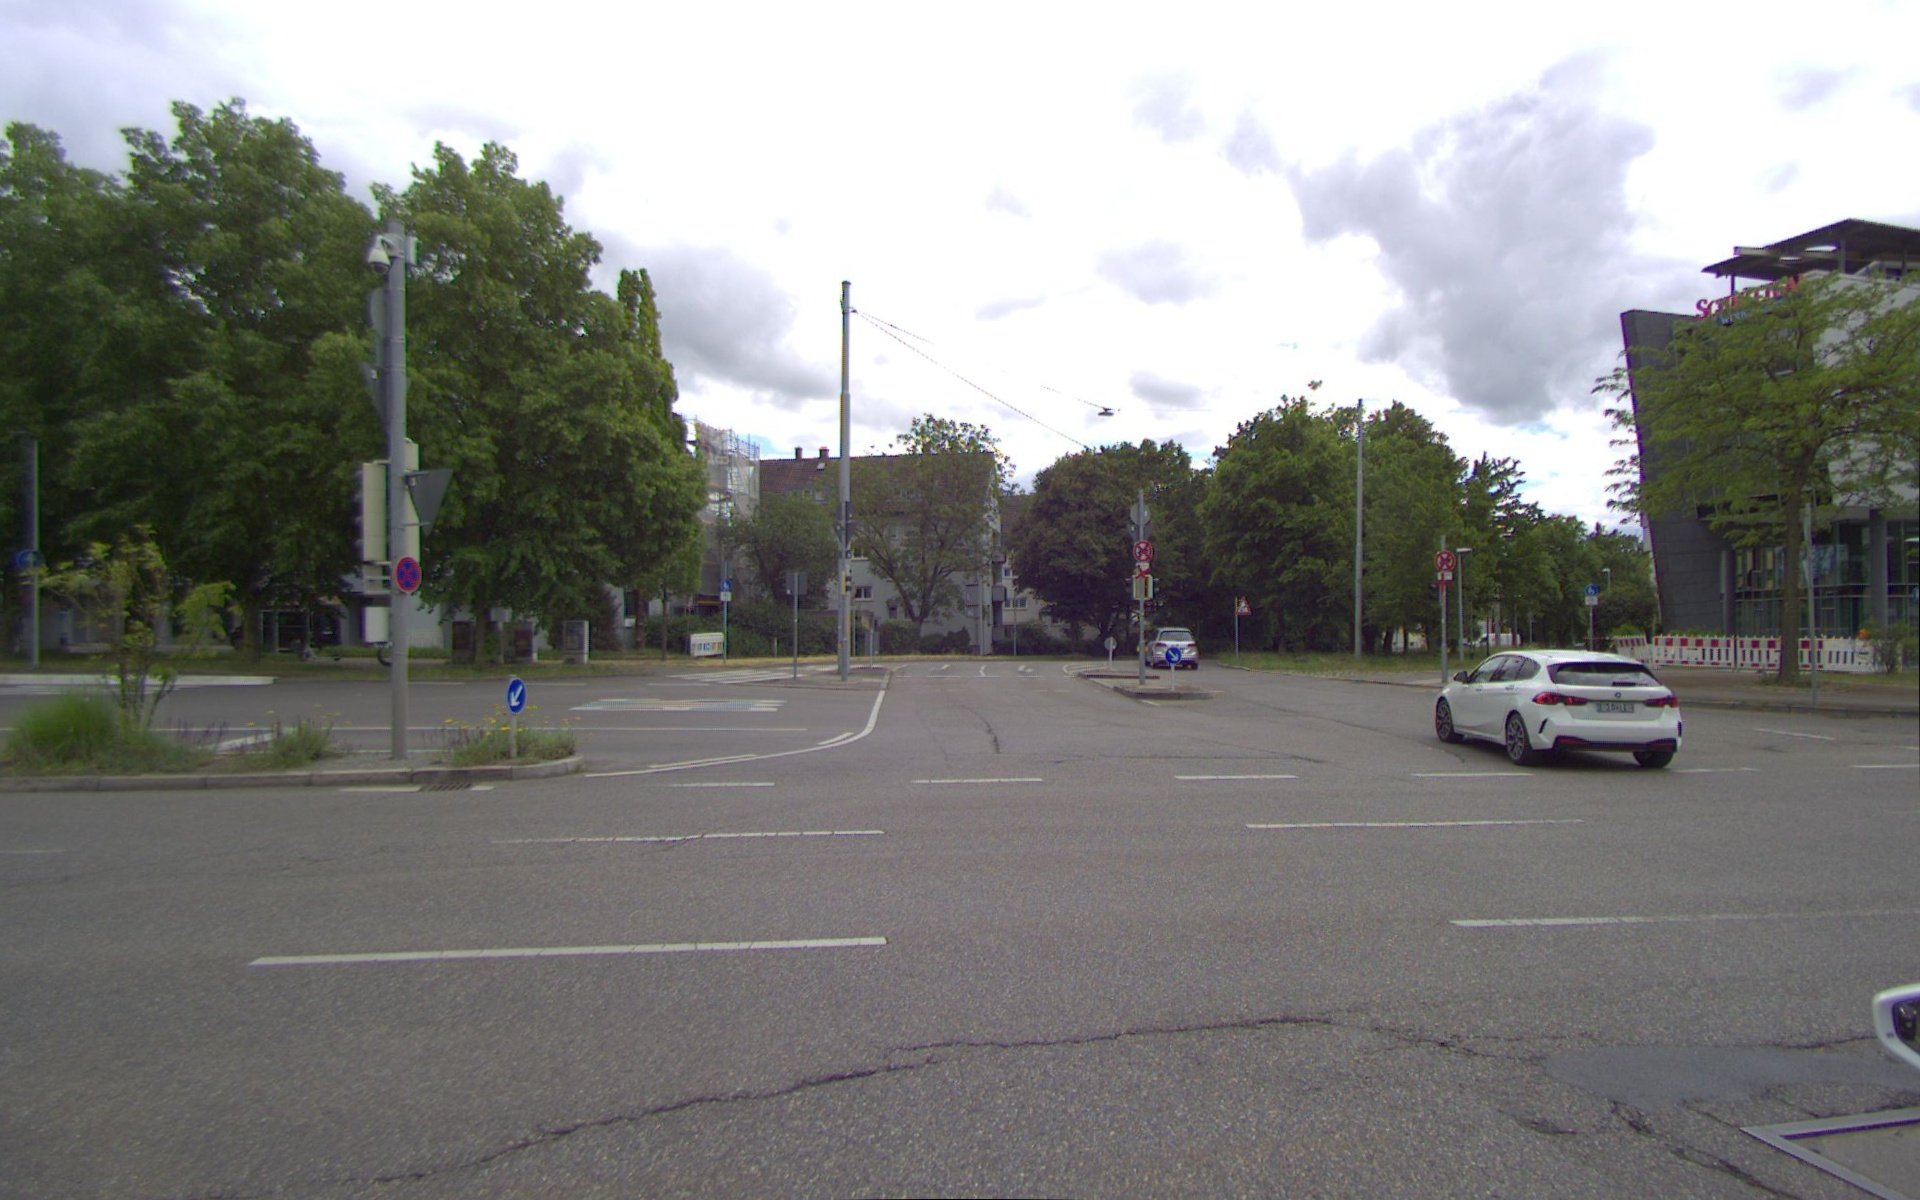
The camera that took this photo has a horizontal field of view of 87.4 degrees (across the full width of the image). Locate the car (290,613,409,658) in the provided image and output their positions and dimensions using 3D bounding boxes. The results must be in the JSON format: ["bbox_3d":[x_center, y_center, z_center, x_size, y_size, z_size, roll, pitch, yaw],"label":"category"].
[{"bbox_3d":[-23.518,1.359,38.735,3.870,1.691,1.649,0,-2,14],"label":"car"}]

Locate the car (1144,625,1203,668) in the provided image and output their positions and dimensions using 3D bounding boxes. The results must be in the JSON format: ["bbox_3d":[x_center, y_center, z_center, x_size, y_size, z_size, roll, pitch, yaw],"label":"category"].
[{"bbox_3d":[8.332,1.832,39.492,1.890,1.594,4.003,0,-2,7],"label":"car"}]

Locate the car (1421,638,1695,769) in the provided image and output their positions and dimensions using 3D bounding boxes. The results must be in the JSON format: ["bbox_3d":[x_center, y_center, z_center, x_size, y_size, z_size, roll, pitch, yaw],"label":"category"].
[{"bbox_3d":[8.086,1.342,14.100,1.765,1.537,4.211,-1,-3,8],"label":"car"}]

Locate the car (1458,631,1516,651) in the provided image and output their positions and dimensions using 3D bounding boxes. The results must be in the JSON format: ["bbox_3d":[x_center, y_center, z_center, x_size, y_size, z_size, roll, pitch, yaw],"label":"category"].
[{"bbox_3d":[73.856,5.734,140.776,6.839,2.555,2.086,1,0,7],"label":"car"}]

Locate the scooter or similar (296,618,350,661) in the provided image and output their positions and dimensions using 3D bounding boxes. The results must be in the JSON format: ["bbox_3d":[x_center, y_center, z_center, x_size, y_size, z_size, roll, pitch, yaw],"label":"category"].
[{"bbox_3d":[-22.706,1.407,35.830,1.577,1.465,0.550,2,0,-37],"label":"scooter or similar"}]
